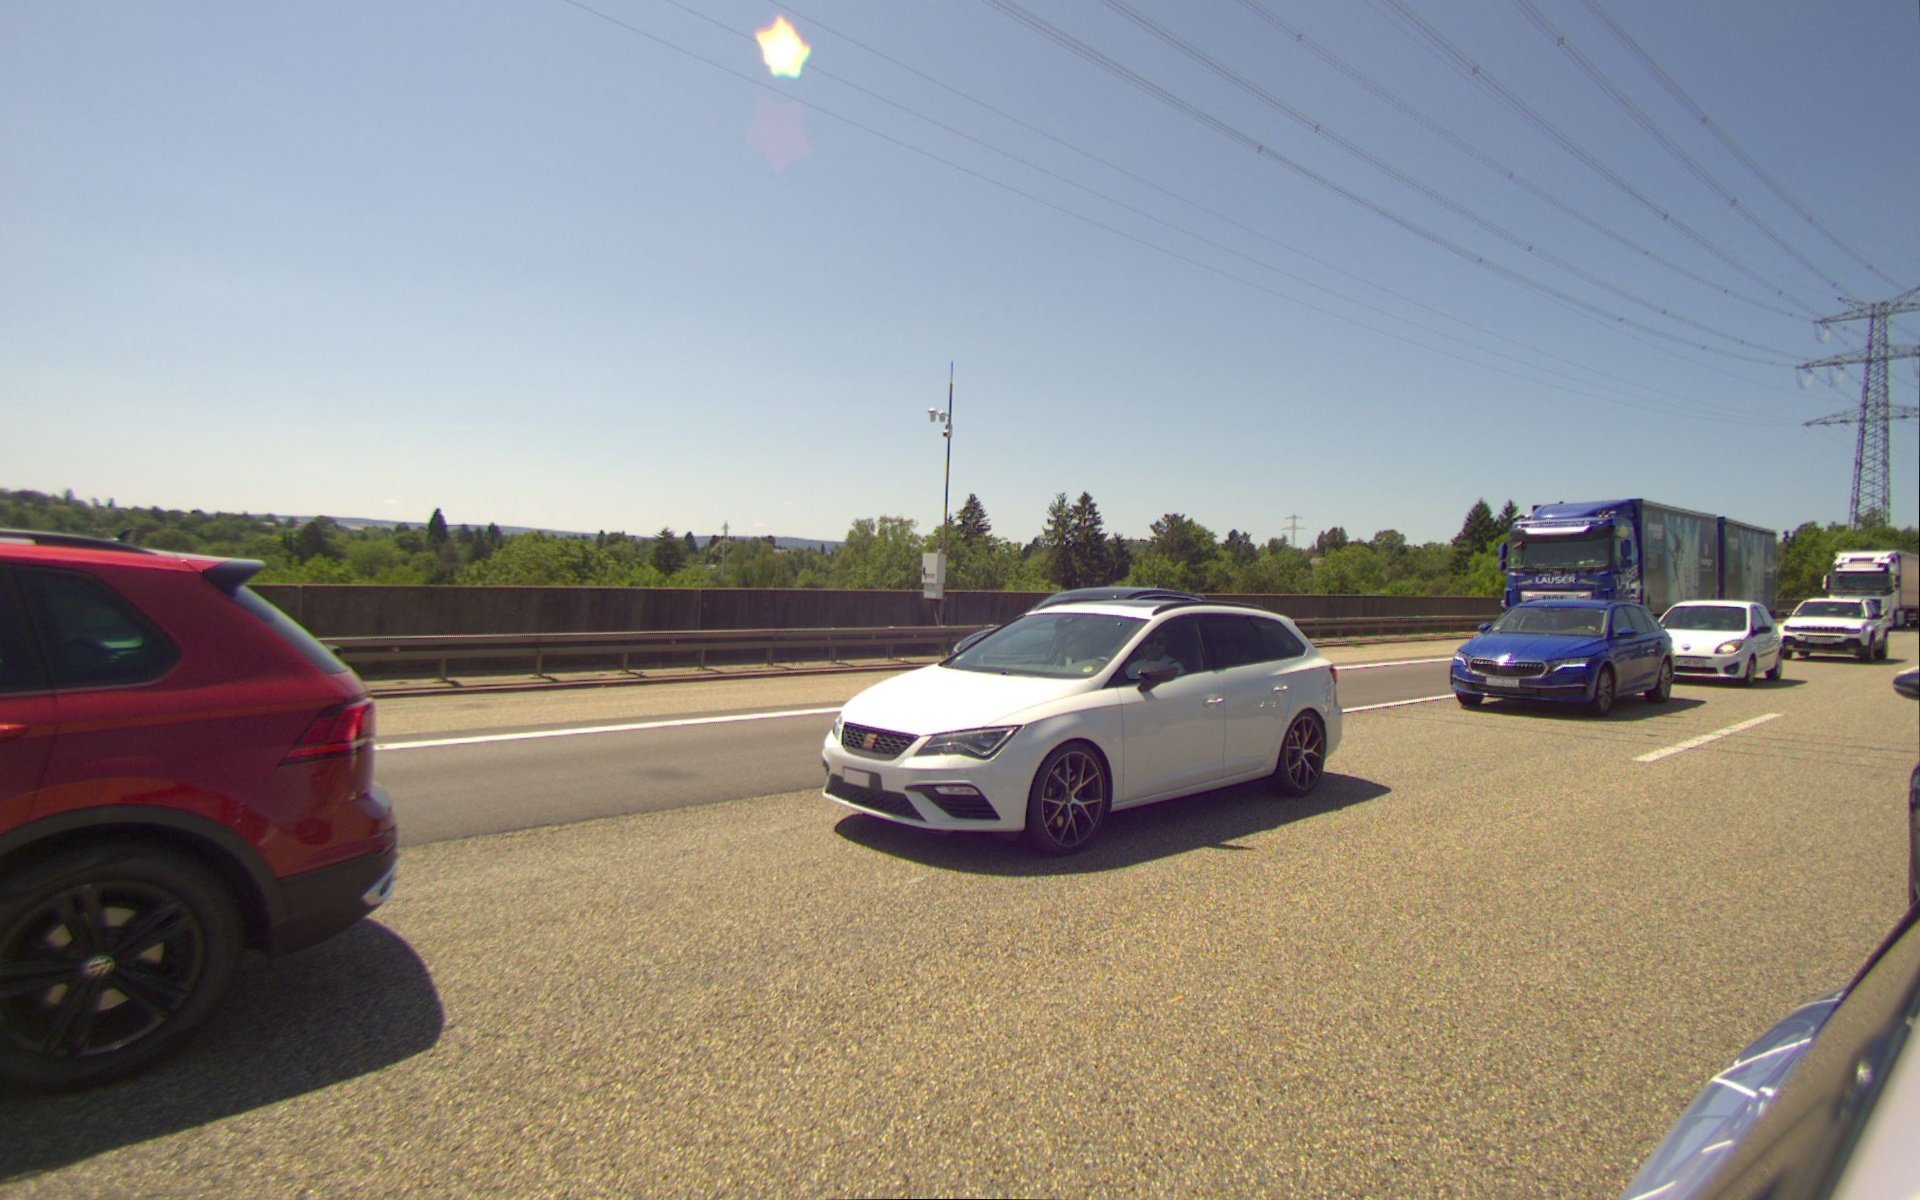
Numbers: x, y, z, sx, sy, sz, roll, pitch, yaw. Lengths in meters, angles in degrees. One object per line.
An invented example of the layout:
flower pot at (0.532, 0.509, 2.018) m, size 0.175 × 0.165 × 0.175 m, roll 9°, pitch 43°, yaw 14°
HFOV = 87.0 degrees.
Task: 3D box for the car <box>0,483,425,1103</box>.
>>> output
car at (-3.952, 0.511, 2.732) m, size 4.151 × 1.683 × 1.778 m, roll 0°, pitch 1°, yaw -41°

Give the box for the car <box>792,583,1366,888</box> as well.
car at (1.024, 0.660, 7.112) m, size 4.003 × 1.508 × 1.841 m, roll 0°, pitch 1°, yaw -42°

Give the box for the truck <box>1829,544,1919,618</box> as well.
truck at (49.219, -0.983, 53.839) m, size 10.776 × 3.604 × 2.983 m, roll 0°, pitch 0°, yaw -41°

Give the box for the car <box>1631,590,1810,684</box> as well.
car at (13.994, 0.598, 18.548) m, size 4.021 × 1.522 × 1.762 m, roll 0°, pitch 1°, yaw -40°

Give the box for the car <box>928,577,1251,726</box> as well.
car at (1.708, 0.524, 12.531) m, size 4.034 × 1.546 × 1.739 m, roll 0°, pitch 0°, yaw -41°

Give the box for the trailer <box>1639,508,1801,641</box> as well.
trailer at (25.695, -0.774, 34.042) m, size 8.329 × 3.995 × 2.571 m, roll 0°, pitch 0°, yaw -40°

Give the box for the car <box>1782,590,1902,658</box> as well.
car at (21.979, 0.538, 25.164) m, size 4.024 × 1.522 × 1.761 m, roll 0°, pitch 1°, yaw -42°

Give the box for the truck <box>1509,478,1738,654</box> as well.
truck at (18.615, -0.817, 27.981) m, size 10.262 × 4.118 × 2.527 m, roll 0°, pitch 0°, yaw -40°

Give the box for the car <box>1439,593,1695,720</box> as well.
car at (8.411, 0.655, 13.879) m, size 4.135 × 1.463 × 1.739 m, roll 0°, pitch 1°, yaw -40°

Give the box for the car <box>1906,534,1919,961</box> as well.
car at (5.793, 0.571, 4.653) m, size 3.931 × 1.683 × 1.738 m, roll 0°, pitch 0°, yaw -41°
